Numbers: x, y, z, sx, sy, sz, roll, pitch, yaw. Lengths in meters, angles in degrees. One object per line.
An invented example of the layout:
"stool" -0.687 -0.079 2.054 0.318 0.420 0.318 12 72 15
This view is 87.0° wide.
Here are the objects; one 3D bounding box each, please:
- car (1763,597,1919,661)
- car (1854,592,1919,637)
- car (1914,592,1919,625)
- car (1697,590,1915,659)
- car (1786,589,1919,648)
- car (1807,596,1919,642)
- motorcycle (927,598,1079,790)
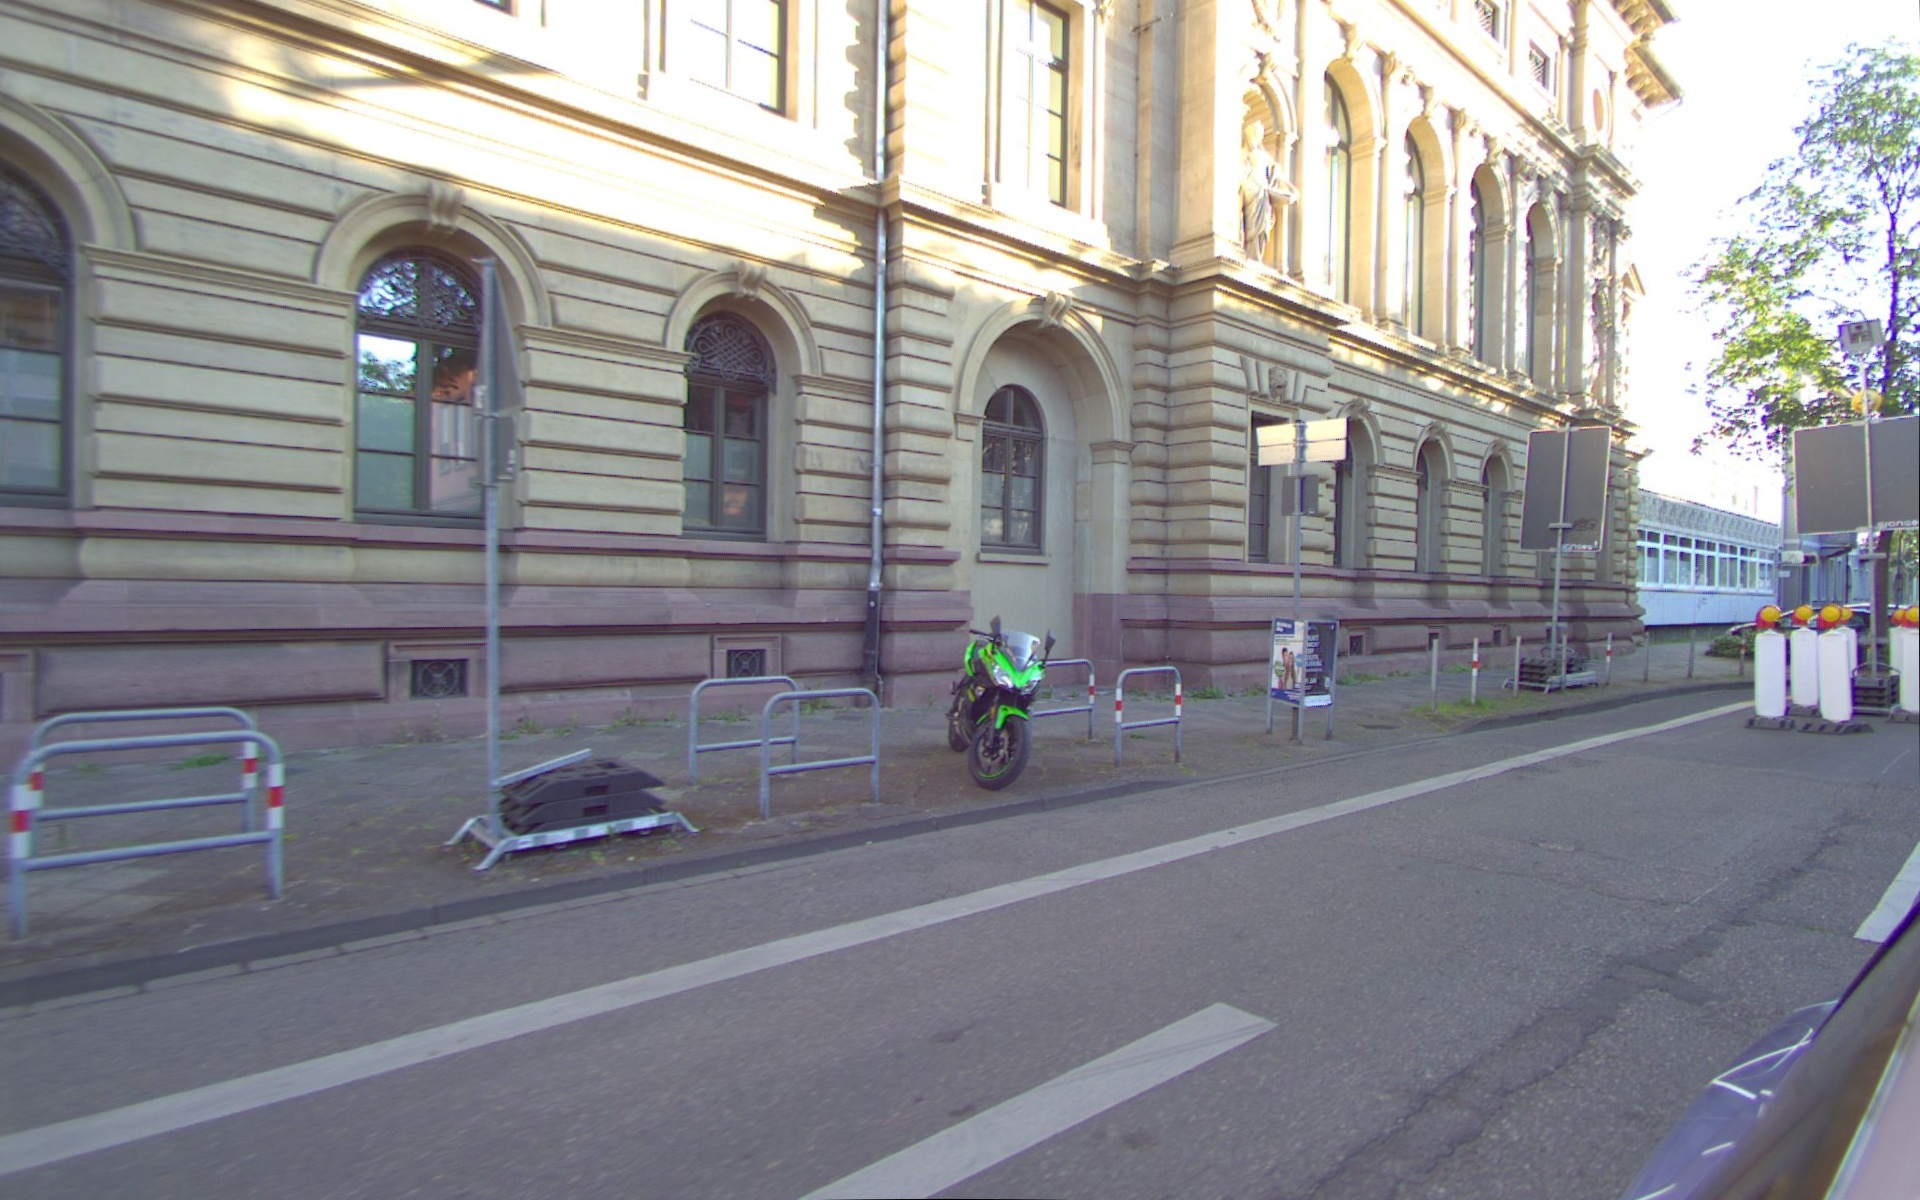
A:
"car" 25.503 0.801 28.413 1.643 1.513 4.367 0 3 -41
"car" 38.229 0.620 39.825 1.704 1.644 4.363 0 3 -43
"car" 54.921 0.562 54.961 1.704 1.800 4.363 0 3 -43
"car" 22.889 0.605 27.501 1.804 1.482 4.361 0 4 -44
"car" 29.942 0.611 33.001 2.020 1.662 4.364 0 3 -43
"car" 34.068 0.699 37.115 1.855 1.512 4.363 0 3 -43
"motorcycle" 0.271 0.660 8.113 0.695 1.230 2.109 2 2 -11
